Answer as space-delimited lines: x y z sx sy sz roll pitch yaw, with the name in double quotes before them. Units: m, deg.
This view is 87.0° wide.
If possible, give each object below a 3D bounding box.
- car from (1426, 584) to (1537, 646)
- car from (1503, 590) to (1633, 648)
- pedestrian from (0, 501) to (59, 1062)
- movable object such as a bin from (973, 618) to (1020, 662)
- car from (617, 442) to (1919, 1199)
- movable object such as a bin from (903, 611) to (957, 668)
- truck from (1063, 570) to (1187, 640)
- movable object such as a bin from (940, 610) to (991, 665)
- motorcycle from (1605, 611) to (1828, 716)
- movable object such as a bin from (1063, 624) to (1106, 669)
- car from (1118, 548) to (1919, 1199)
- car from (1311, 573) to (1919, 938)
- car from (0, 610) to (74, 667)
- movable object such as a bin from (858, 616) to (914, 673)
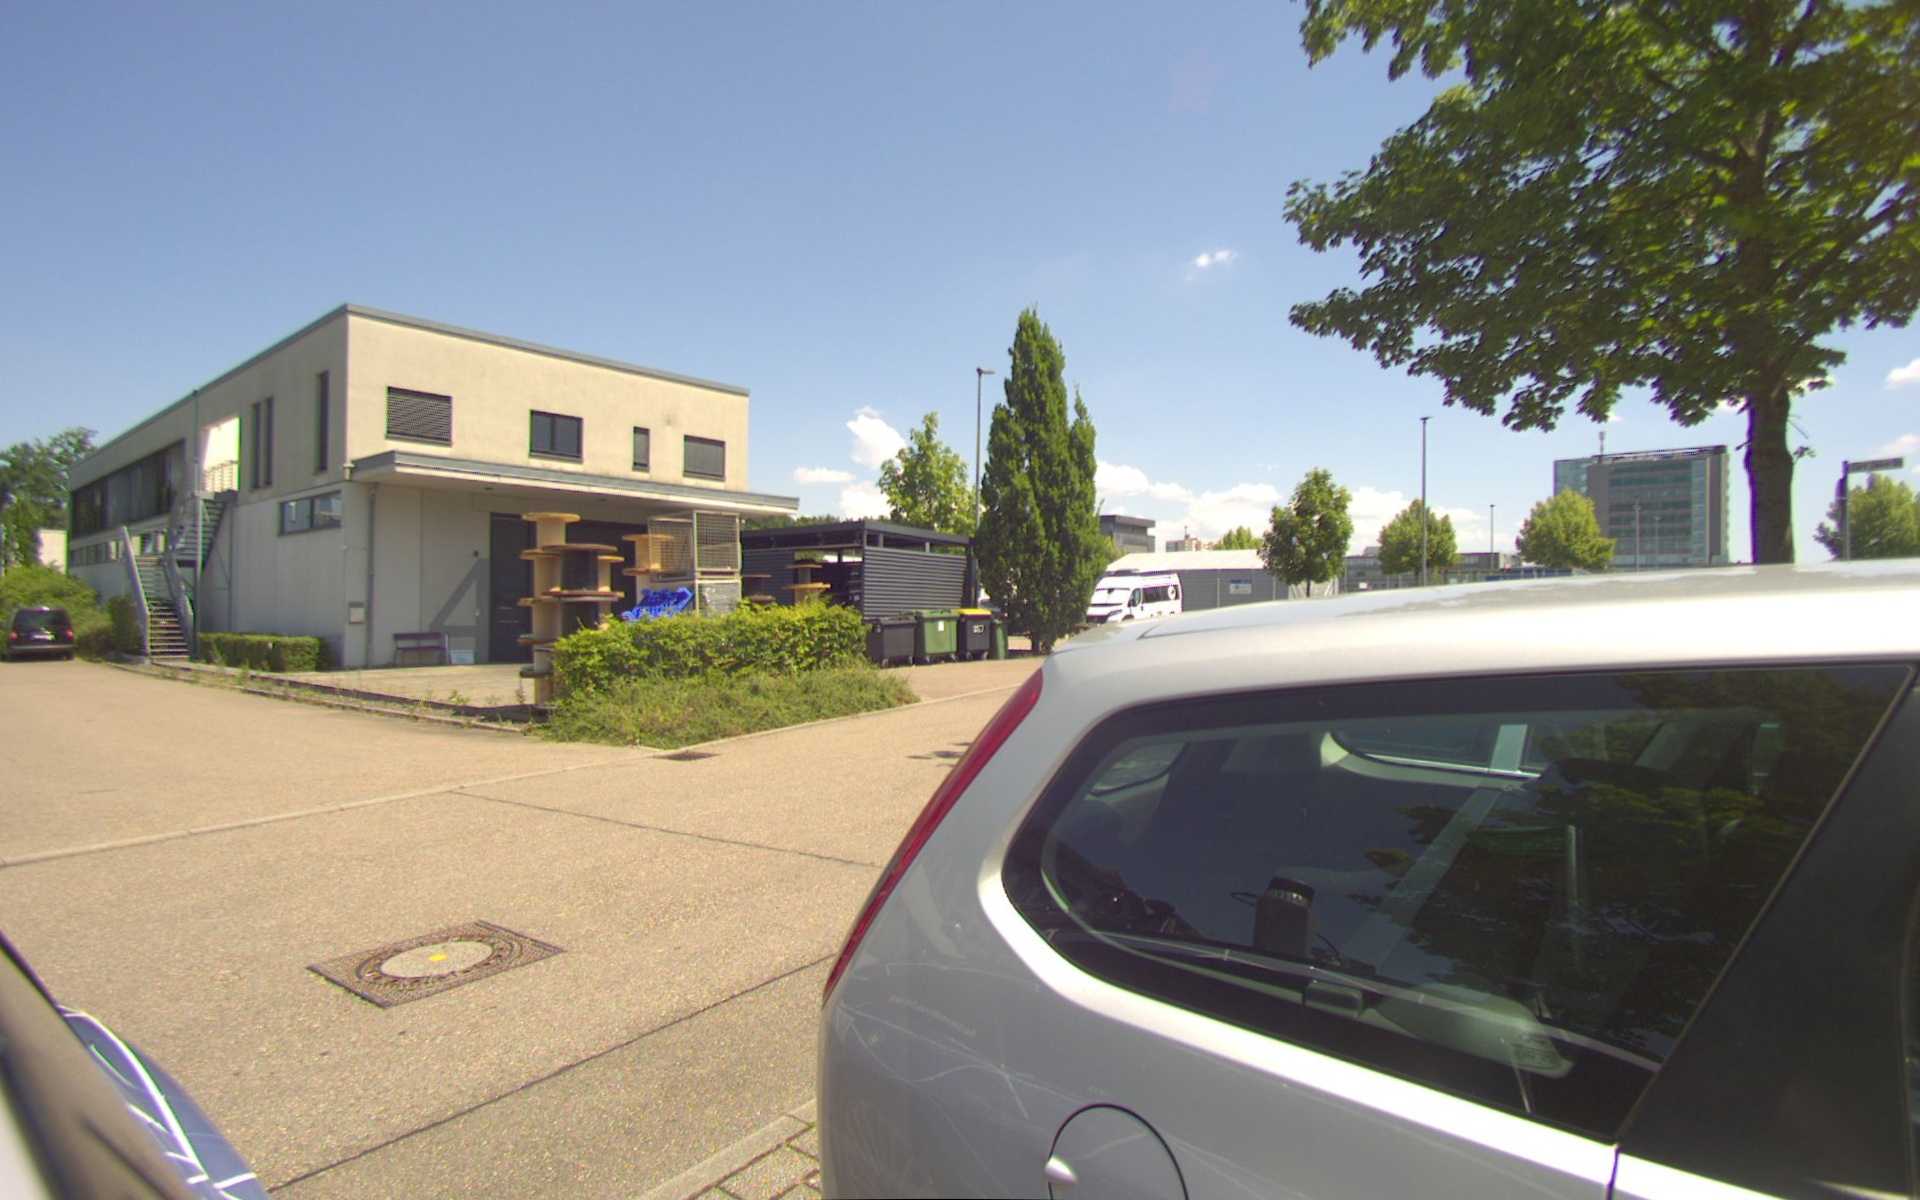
"car" 15.882 0.417 30.758 3.940 1.751 1.774 -1 0 -43
"car" 17.220 0.500 28.631 3.933 1.533 1.657 -1 0 -35
"pedestrian" -3.569 0.597 3.081 0.891 1.834 0.861 -1 0 -5
"movable object such as a bin" 0.948 1.037 26.534 0.973 1.092 0.760 -1 0 -44
"car" 1.781 0.633 0.754 4.341 1.490 1.704 -1 0 37
"movable object such as a bin" -0.731 0.956 24.788 1.057 1.346 0.760 -1 0 -44
"truck" 6.917 0.194 41.875 2.418 2.692 5.620 -2 -1 41
"movable object such as a bin" 0.144 0.941 25.796 1.057 1.346 0.760 -1 0 -44
"motorcycle" 8.537 0.702 11.532 1.984 1.117 0.479 -2 -1 34
"movable object such as a bin" 2.819 1.036 22.903 0.581 0.977 0.761 -1 0 -44
"car" 2.586 0.626 2.938 3.881 1.490 1.634 -1 0 34
"car" 3.925 0.624 4.966 3.881 1.459 1.634 -1 0 34
"car" -31.913 1.276 34.842 4.001 1.817 1.763 -1 0 43
"movable object such as a bin" -1.753 1.028 23.937 1.057 1.280 0.760 -1 0 -44
